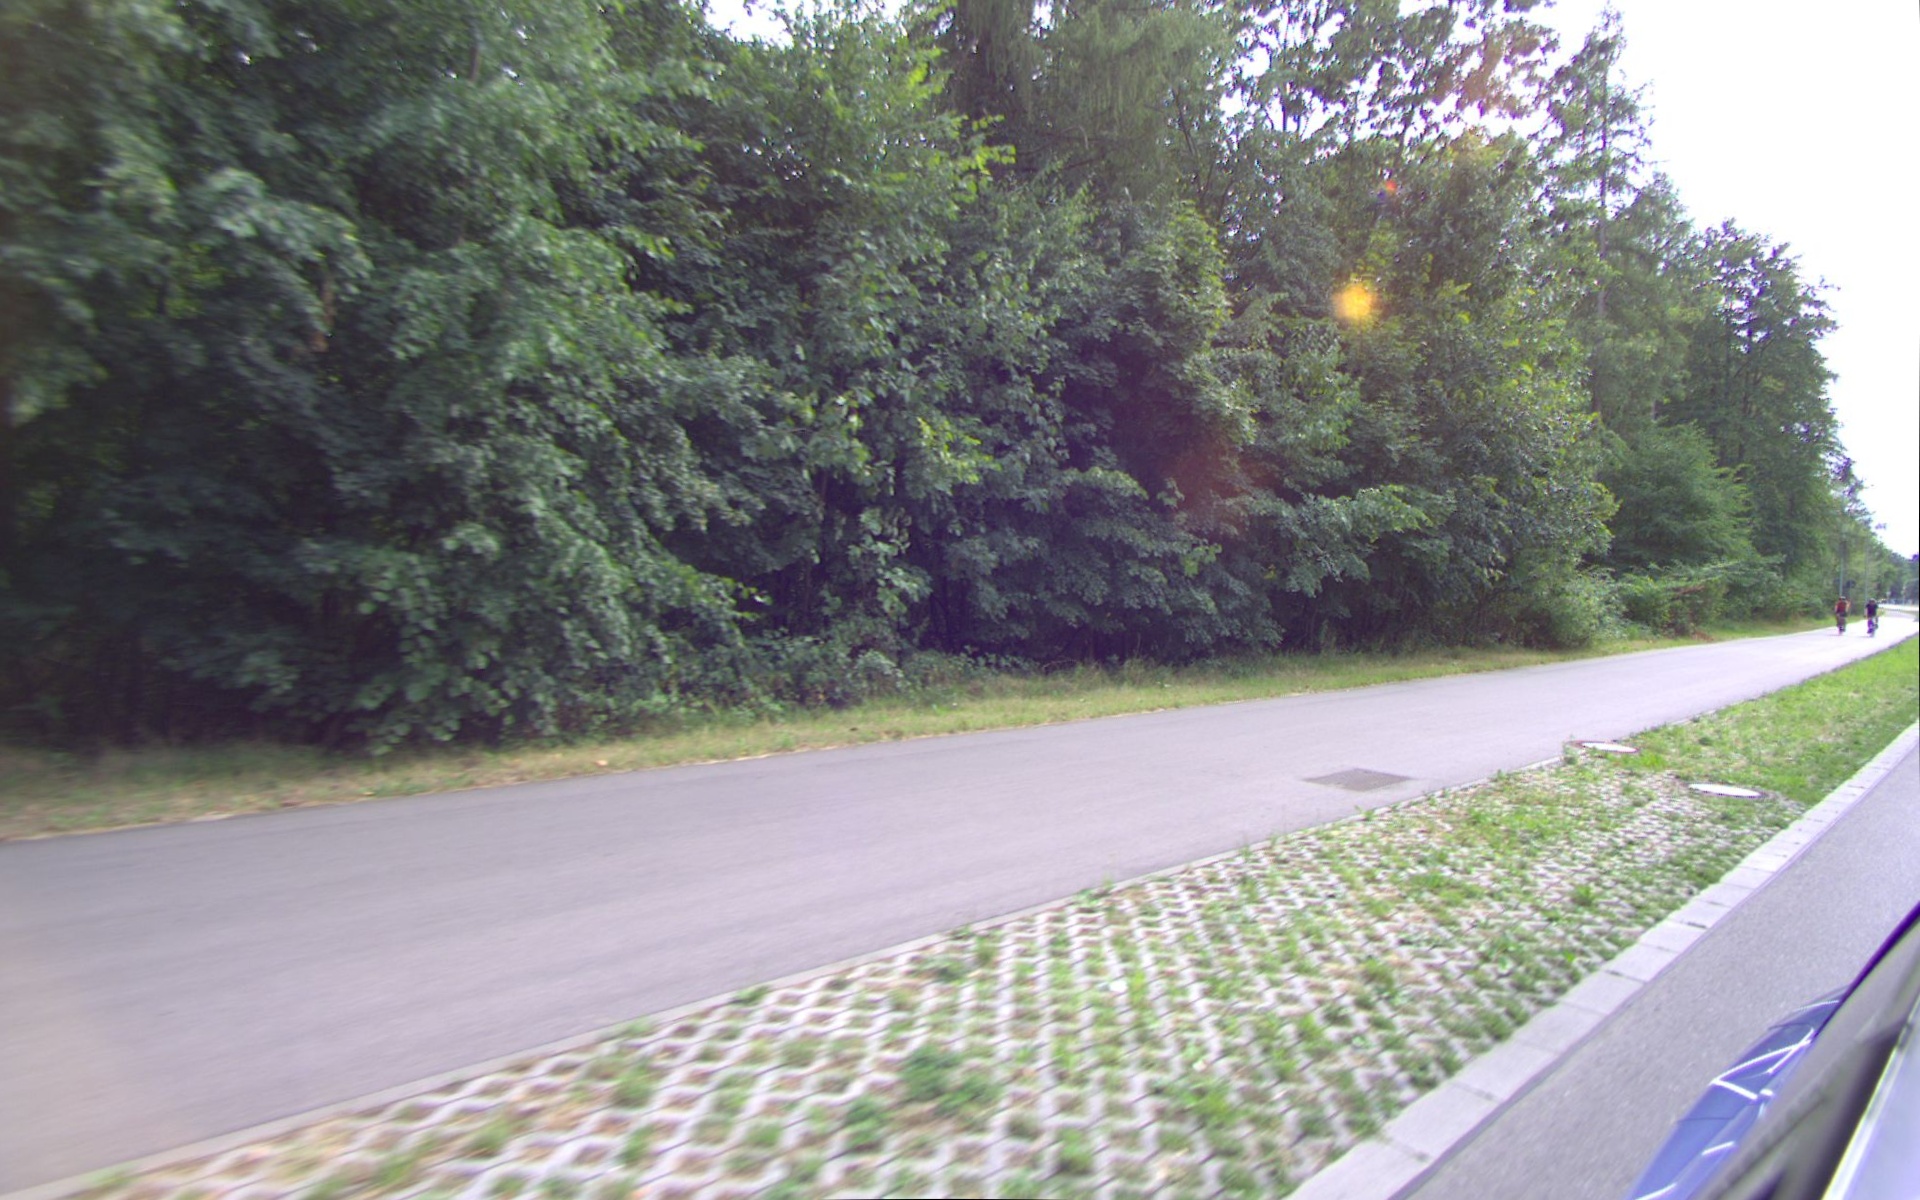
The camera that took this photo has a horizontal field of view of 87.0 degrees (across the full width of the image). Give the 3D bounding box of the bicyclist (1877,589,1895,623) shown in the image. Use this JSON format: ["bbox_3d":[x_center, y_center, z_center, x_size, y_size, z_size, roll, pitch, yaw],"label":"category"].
[{"bbox_3d":[40.755,0.262,44.549,0.520,1.433,1.168,2,2,44],"label":"bicyclist"}]

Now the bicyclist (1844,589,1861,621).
[{"bbox_3d":[39.967,0.223,45.309,0.520,1.433,1.168,-1,0,44],"label":"bicyclist"}]

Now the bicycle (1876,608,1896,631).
[{"bbox_3d":[40.759,0.836,44.550,0.566,0.923,1.727,5,4,43],"label":"bicycle"}]

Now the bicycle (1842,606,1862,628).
[{"bbox_3d":[39.899,0.752,45.261,0.566,0.923,1.857,5,3,43],"label":"bicycle"}]
